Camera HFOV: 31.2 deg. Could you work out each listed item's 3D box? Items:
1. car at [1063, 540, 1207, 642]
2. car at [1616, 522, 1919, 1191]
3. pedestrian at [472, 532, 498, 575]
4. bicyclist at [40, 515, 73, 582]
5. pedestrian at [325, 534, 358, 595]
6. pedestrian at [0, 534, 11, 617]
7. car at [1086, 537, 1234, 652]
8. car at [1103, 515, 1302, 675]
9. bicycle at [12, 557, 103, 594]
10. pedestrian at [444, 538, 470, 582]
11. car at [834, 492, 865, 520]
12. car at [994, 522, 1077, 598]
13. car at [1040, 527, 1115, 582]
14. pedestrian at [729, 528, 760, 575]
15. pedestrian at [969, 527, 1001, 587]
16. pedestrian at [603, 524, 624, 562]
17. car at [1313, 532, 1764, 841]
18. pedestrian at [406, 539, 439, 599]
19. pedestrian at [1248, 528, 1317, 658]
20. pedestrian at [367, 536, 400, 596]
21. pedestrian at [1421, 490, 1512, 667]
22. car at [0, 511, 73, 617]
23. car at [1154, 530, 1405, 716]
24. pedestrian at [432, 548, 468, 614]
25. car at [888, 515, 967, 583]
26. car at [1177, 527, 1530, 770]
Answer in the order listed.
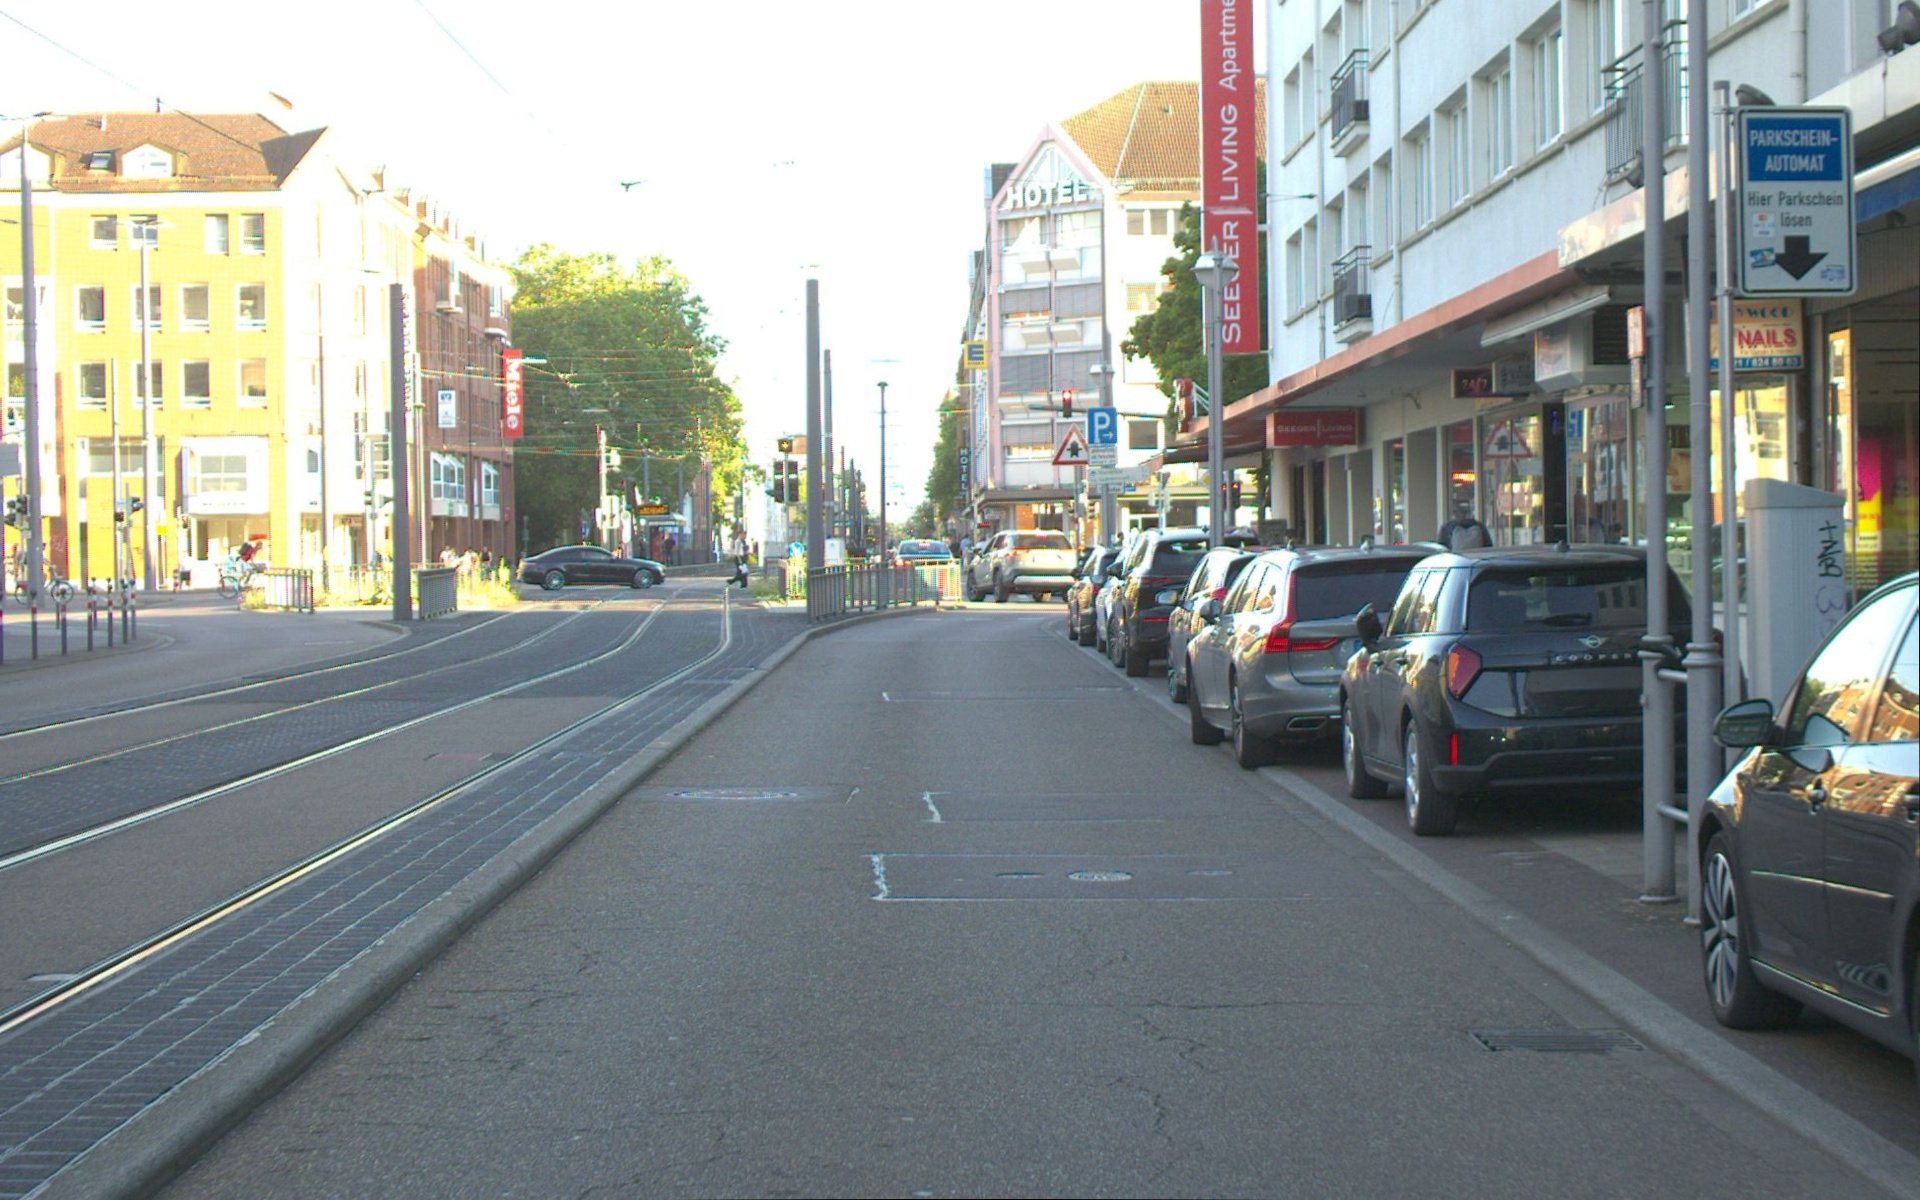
[{"bbox_3d":[2.534,-0.147,50.778,1.790,1.408,4.688,1,1,-1],"label":"car"},{"bbox_3d":[3.044,0.578,9.125,1.765,1.508,4.072,1,1,-1],"label":"car"},{"bbox_3d":[-22.613,-2.210,163.549,1.093,2.007,1.163,1,0,-3],"label":"pedestrian"},{"bbox_3d":[-27.508,-1.565,104.694,0.860,2.007,0.647,1,0,-21],"label":"bicyclist"},{"bbox_3d":[-14.207,-0.818,78.970,0.663,1.370,0.652,-1,1,-3],"label":"pedestrian"},{"bbox_3d":[-17.885,-0.447,63.168,0.719,1.531,0.719,-1,1,-5],"label":"pedestrian"},{"bbox_3d":[2.592,-0.088,45.345,1.651,1.416,4.191,1,1,-1],"label":"car"},{"bbox_3d":[2.711,-0.073,39.331,1.856,1.695,4.418,1,1,-1],"label":"car"},{"bbox_3d":[-27.480,-0.739,104.729,2.639,1.096,0.435,1,0,-20],"label":"bicycle"},{"bbox_3d":[-23.245,-1.854,158.971,1.093,2.007,0.909,1,0,-3],"label":"pedestrian"},{"bbox_3d":[-7.744,-6.614,241.620,1.993,1.894,4.000,1,1,0],"label":"car"},{"bbox_3d":[1.733,-0.914,79.904,1.835,1.630,4.090,-2,0,1],"label":"car"},{"bbox_3d":[3.204,-1.260,94.387,1.764,1.435,4.001,-1,1,-2],"label":"car"},{"bbox_3d":[-6.432,-1.458,102.613,0.903,1.370,0.854,-1,1,-3],"label":"pedestrian"},{"bbox_3d":[0.717,-1.247,99.781,0.874,1.700,0.700,1,0,2],"label":"pedestrian"},{"bbox_3d":[-15.461,-2.540,153.216,0.805,1.658,0.703,1,0,3],"label":"pedestrian"},{"bbox_3d":[3.024,0.402,18.759,1.726,1.476,4.000,1,1,-1],"label":"car"},{"bbox_3d":[-12.420,-0.724,79.405,0.663,1.370,0.652,-1,1,-3],"label":"pedestrian"},{"bbox_3d":[3.968,-0.093,42.342,0.733,1.568,0.967,-1,1,-1],"label":"pedestrian"},{"bbox_3d":[-13.283,-0.797,79.226,0.663,1.370,0.652,0,1,-3],"label":"pedestrian"},{"bbox_3d":[5.455,-0.233,37.047,0.774,1.874,0.935,-1,0,-2],"label":"pedestrian"},{"bbox_3d":[-19.248,-0.677,66.426,3.986,2.007,2.001,-1,1,-17],"label":"car"},{"bbox_3d":[2.788,0.149,30.861,1.781,1.517,4.357,1,1,0],"label":"car"},{"bbox_3d":[-10.716,-0.407,72.270,0.663,1.370,0.652,1,0,-3],"label":"pedestrian"},{"bbox_3d":[-0.892,-1.379,94.116,1.993,1.590,4.000,-5,-1,0],"label":"car"},{"bbox_3d":[2.673,0.287,24.432,1.791,1.528,4.857,1,1,-2],"label":"car"}]
